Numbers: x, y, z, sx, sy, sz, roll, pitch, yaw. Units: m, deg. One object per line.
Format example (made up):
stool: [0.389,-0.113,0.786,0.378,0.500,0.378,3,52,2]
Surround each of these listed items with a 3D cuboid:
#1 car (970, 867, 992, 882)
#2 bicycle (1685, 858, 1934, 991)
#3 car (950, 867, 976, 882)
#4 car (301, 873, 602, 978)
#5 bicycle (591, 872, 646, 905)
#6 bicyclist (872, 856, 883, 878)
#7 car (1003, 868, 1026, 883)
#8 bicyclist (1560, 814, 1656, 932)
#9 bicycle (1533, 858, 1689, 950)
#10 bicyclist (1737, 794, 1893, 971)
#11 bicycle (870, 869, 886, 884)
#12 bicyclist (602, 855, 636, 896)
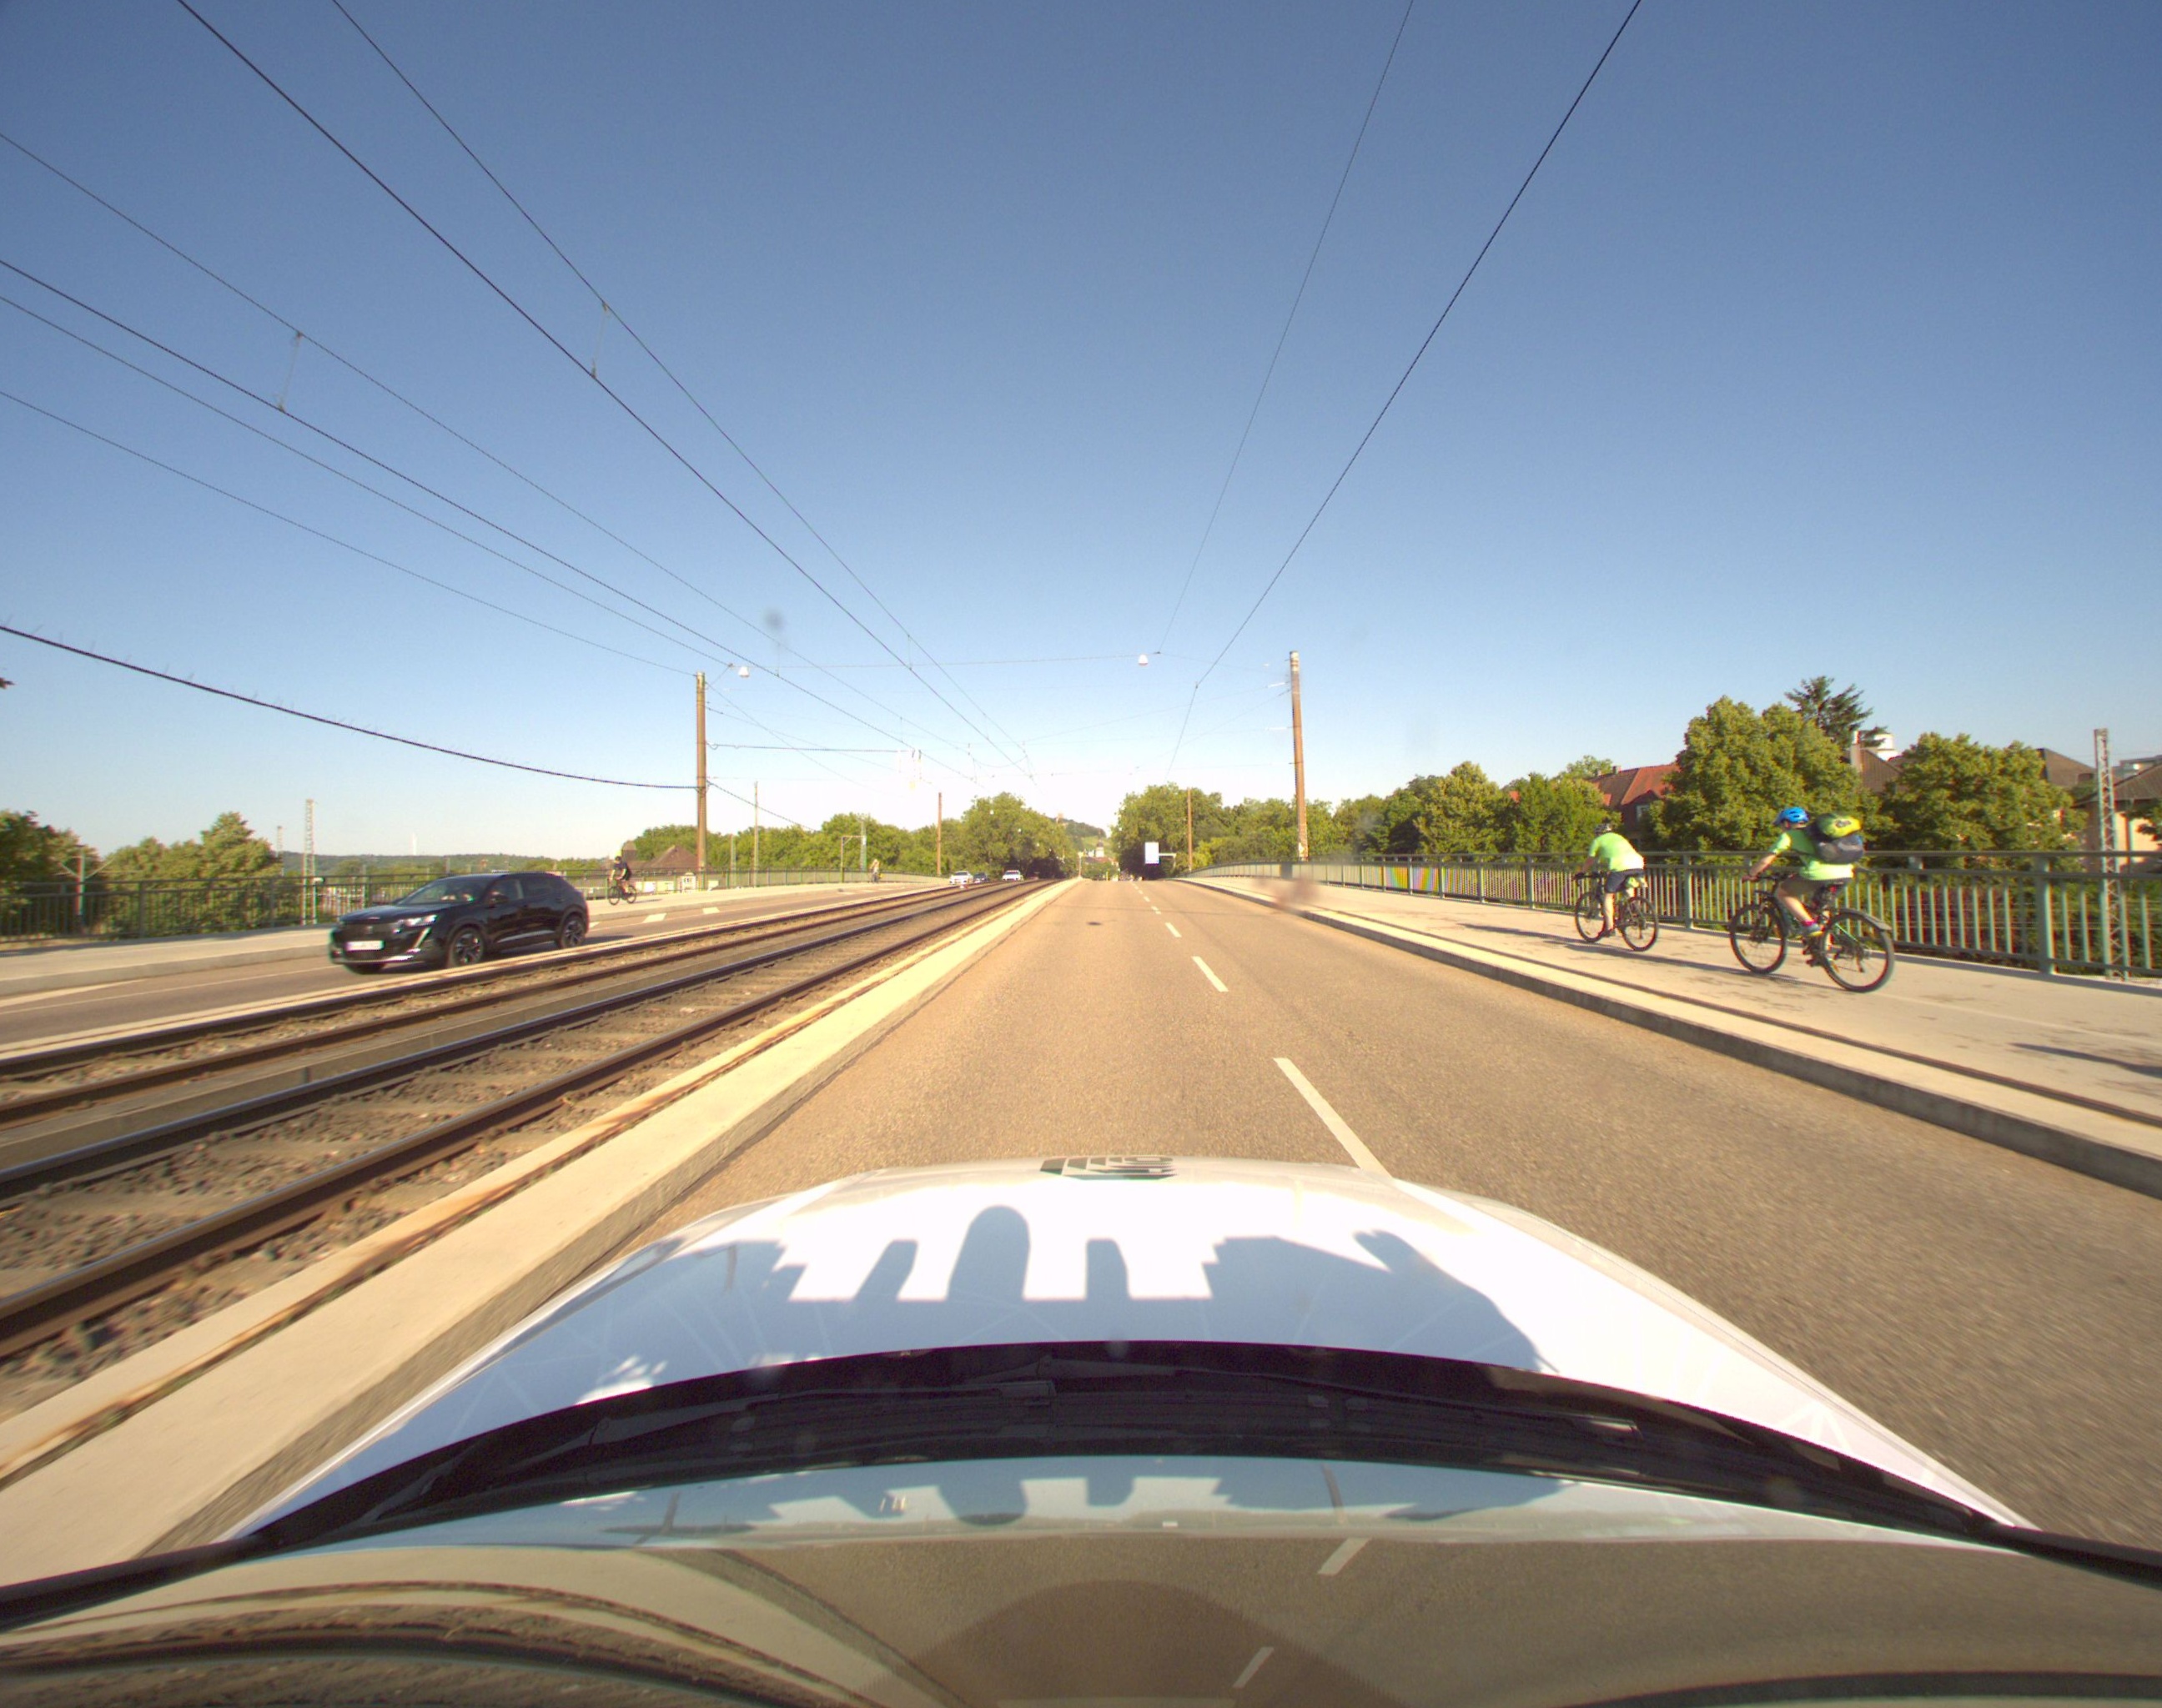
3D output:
car: [-11.250,2.306,91.737,1.772,1.650,4.448,-1,-1,2]
bicycle: [6.967,0.621,7.965,0.623,1.122,2.042,-1,-1,2]
car: [-11.581,1.997,80.075,1.677,1.356,4.922,-1,-1,2]
car: [-10.570,1.111,14.173,1.842,1.502,4.220,-1,-1,2]
bicycle: [-16.649,1.220,29.366,0.622,1.122,2.260,-1,-1,2]
bicyclist: [-15.401,0.985,61.594,0.623,1.633,0.935,-1,-1,1]
car: [-7.577,2.387,93.185,1.993,1.637,5.092,-1,-1,2]
bicyclist: [7.087,0.248,10.993,0.623,1.508,1.005,-1,-1,-1]
bicycle: [7.087,0.620,11.062,0.623,1.122,2.259,-1,-1,0]
bicyclist: [6.995,0.262,7.812,0.623,1.592,0.931,-1,-1,2]
bicycle: [-15.392,1.711,61.770,0.623,1.122,2.259,-1,-1,1]
bicyclist: [-16.654,0.762,29.363,0.623,1.432,0.969,-1,-1,2]
